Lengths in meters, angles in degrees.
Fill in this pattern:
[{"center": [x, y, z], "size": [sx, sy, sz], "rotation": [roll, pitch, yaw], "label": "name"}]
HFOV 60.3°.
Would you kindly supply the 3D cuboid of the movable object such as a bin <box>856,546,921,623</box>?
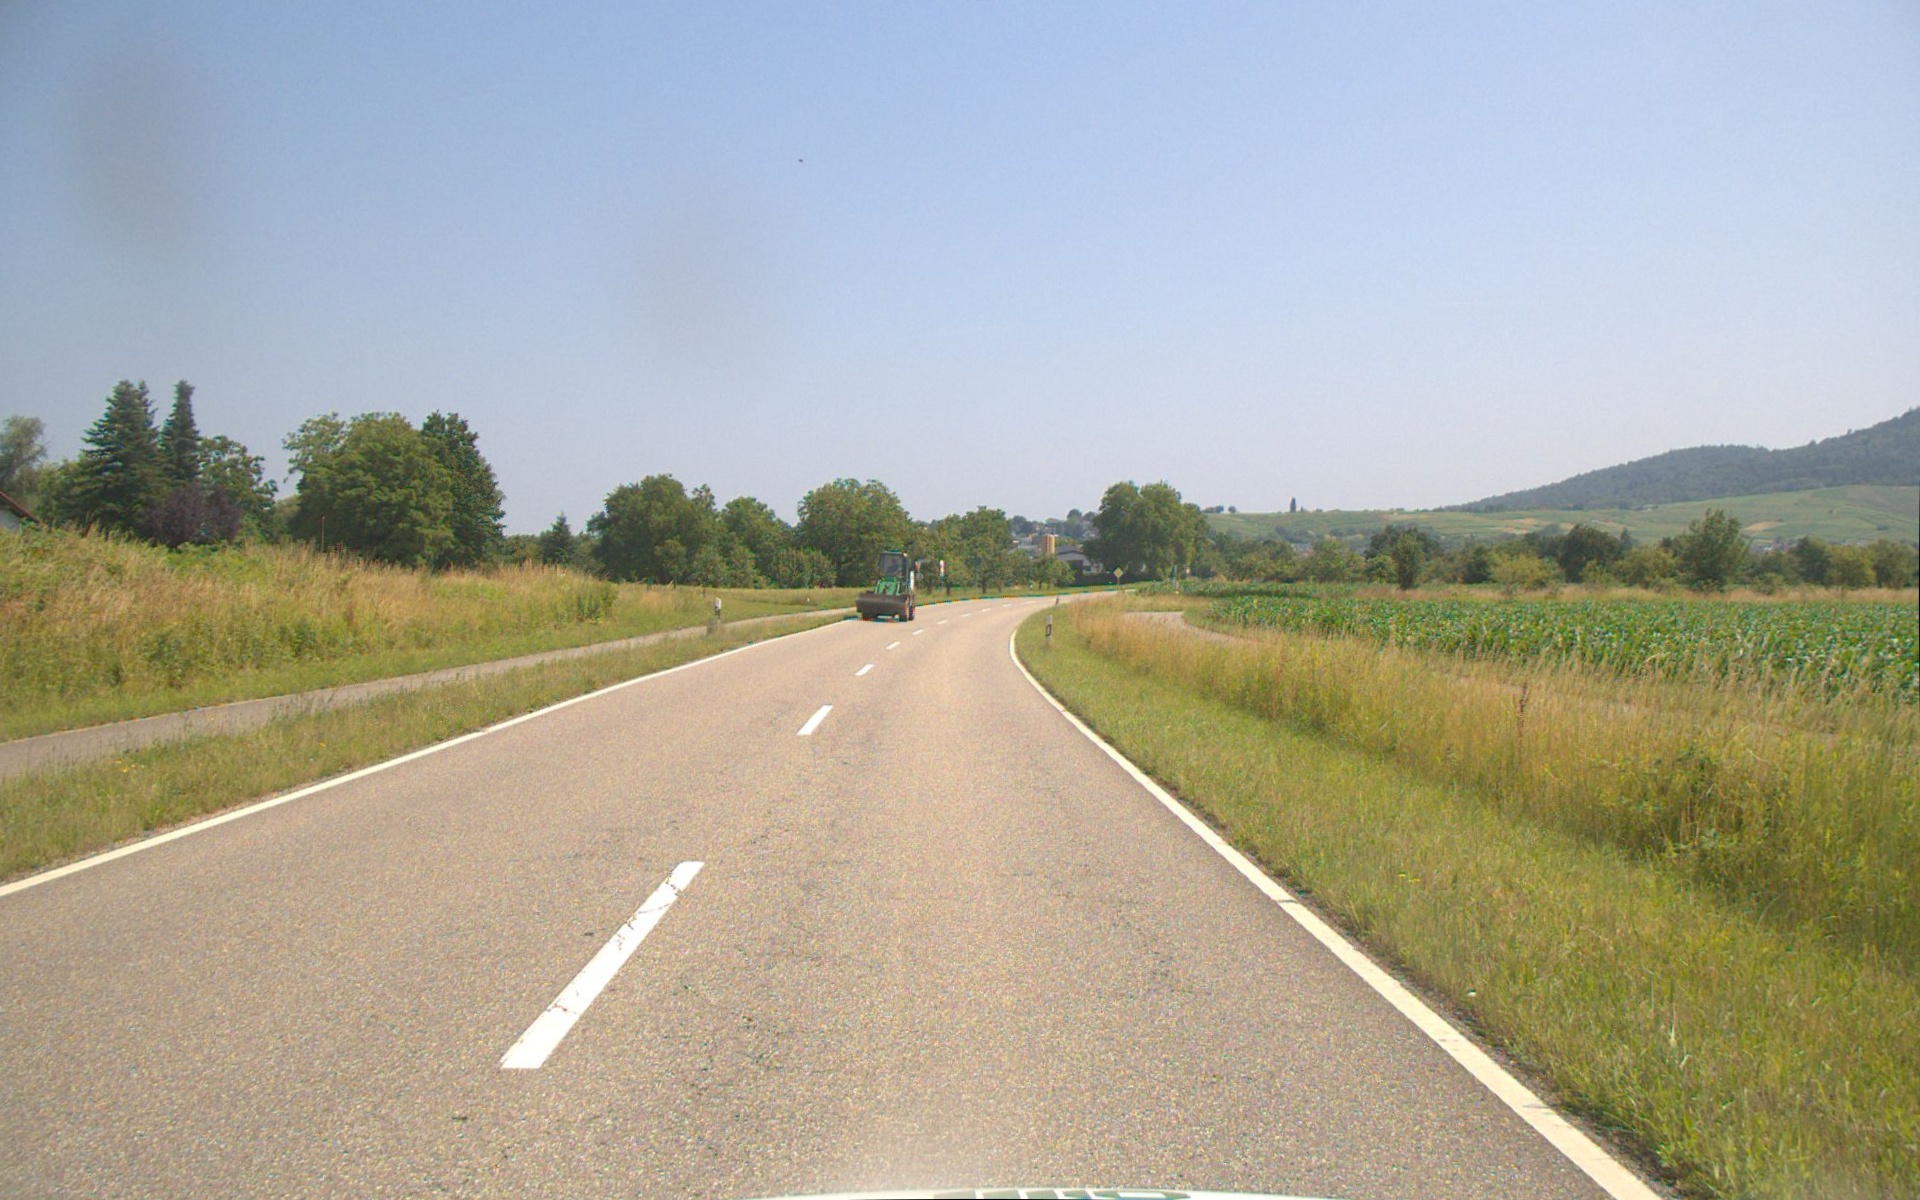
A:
[{"center": [-2.762, -0.598, 65.046], "size": [1.959, 2.802, 5.232], "rotation": [3, 1, 2], "label": "movable object such as a bin"}]
